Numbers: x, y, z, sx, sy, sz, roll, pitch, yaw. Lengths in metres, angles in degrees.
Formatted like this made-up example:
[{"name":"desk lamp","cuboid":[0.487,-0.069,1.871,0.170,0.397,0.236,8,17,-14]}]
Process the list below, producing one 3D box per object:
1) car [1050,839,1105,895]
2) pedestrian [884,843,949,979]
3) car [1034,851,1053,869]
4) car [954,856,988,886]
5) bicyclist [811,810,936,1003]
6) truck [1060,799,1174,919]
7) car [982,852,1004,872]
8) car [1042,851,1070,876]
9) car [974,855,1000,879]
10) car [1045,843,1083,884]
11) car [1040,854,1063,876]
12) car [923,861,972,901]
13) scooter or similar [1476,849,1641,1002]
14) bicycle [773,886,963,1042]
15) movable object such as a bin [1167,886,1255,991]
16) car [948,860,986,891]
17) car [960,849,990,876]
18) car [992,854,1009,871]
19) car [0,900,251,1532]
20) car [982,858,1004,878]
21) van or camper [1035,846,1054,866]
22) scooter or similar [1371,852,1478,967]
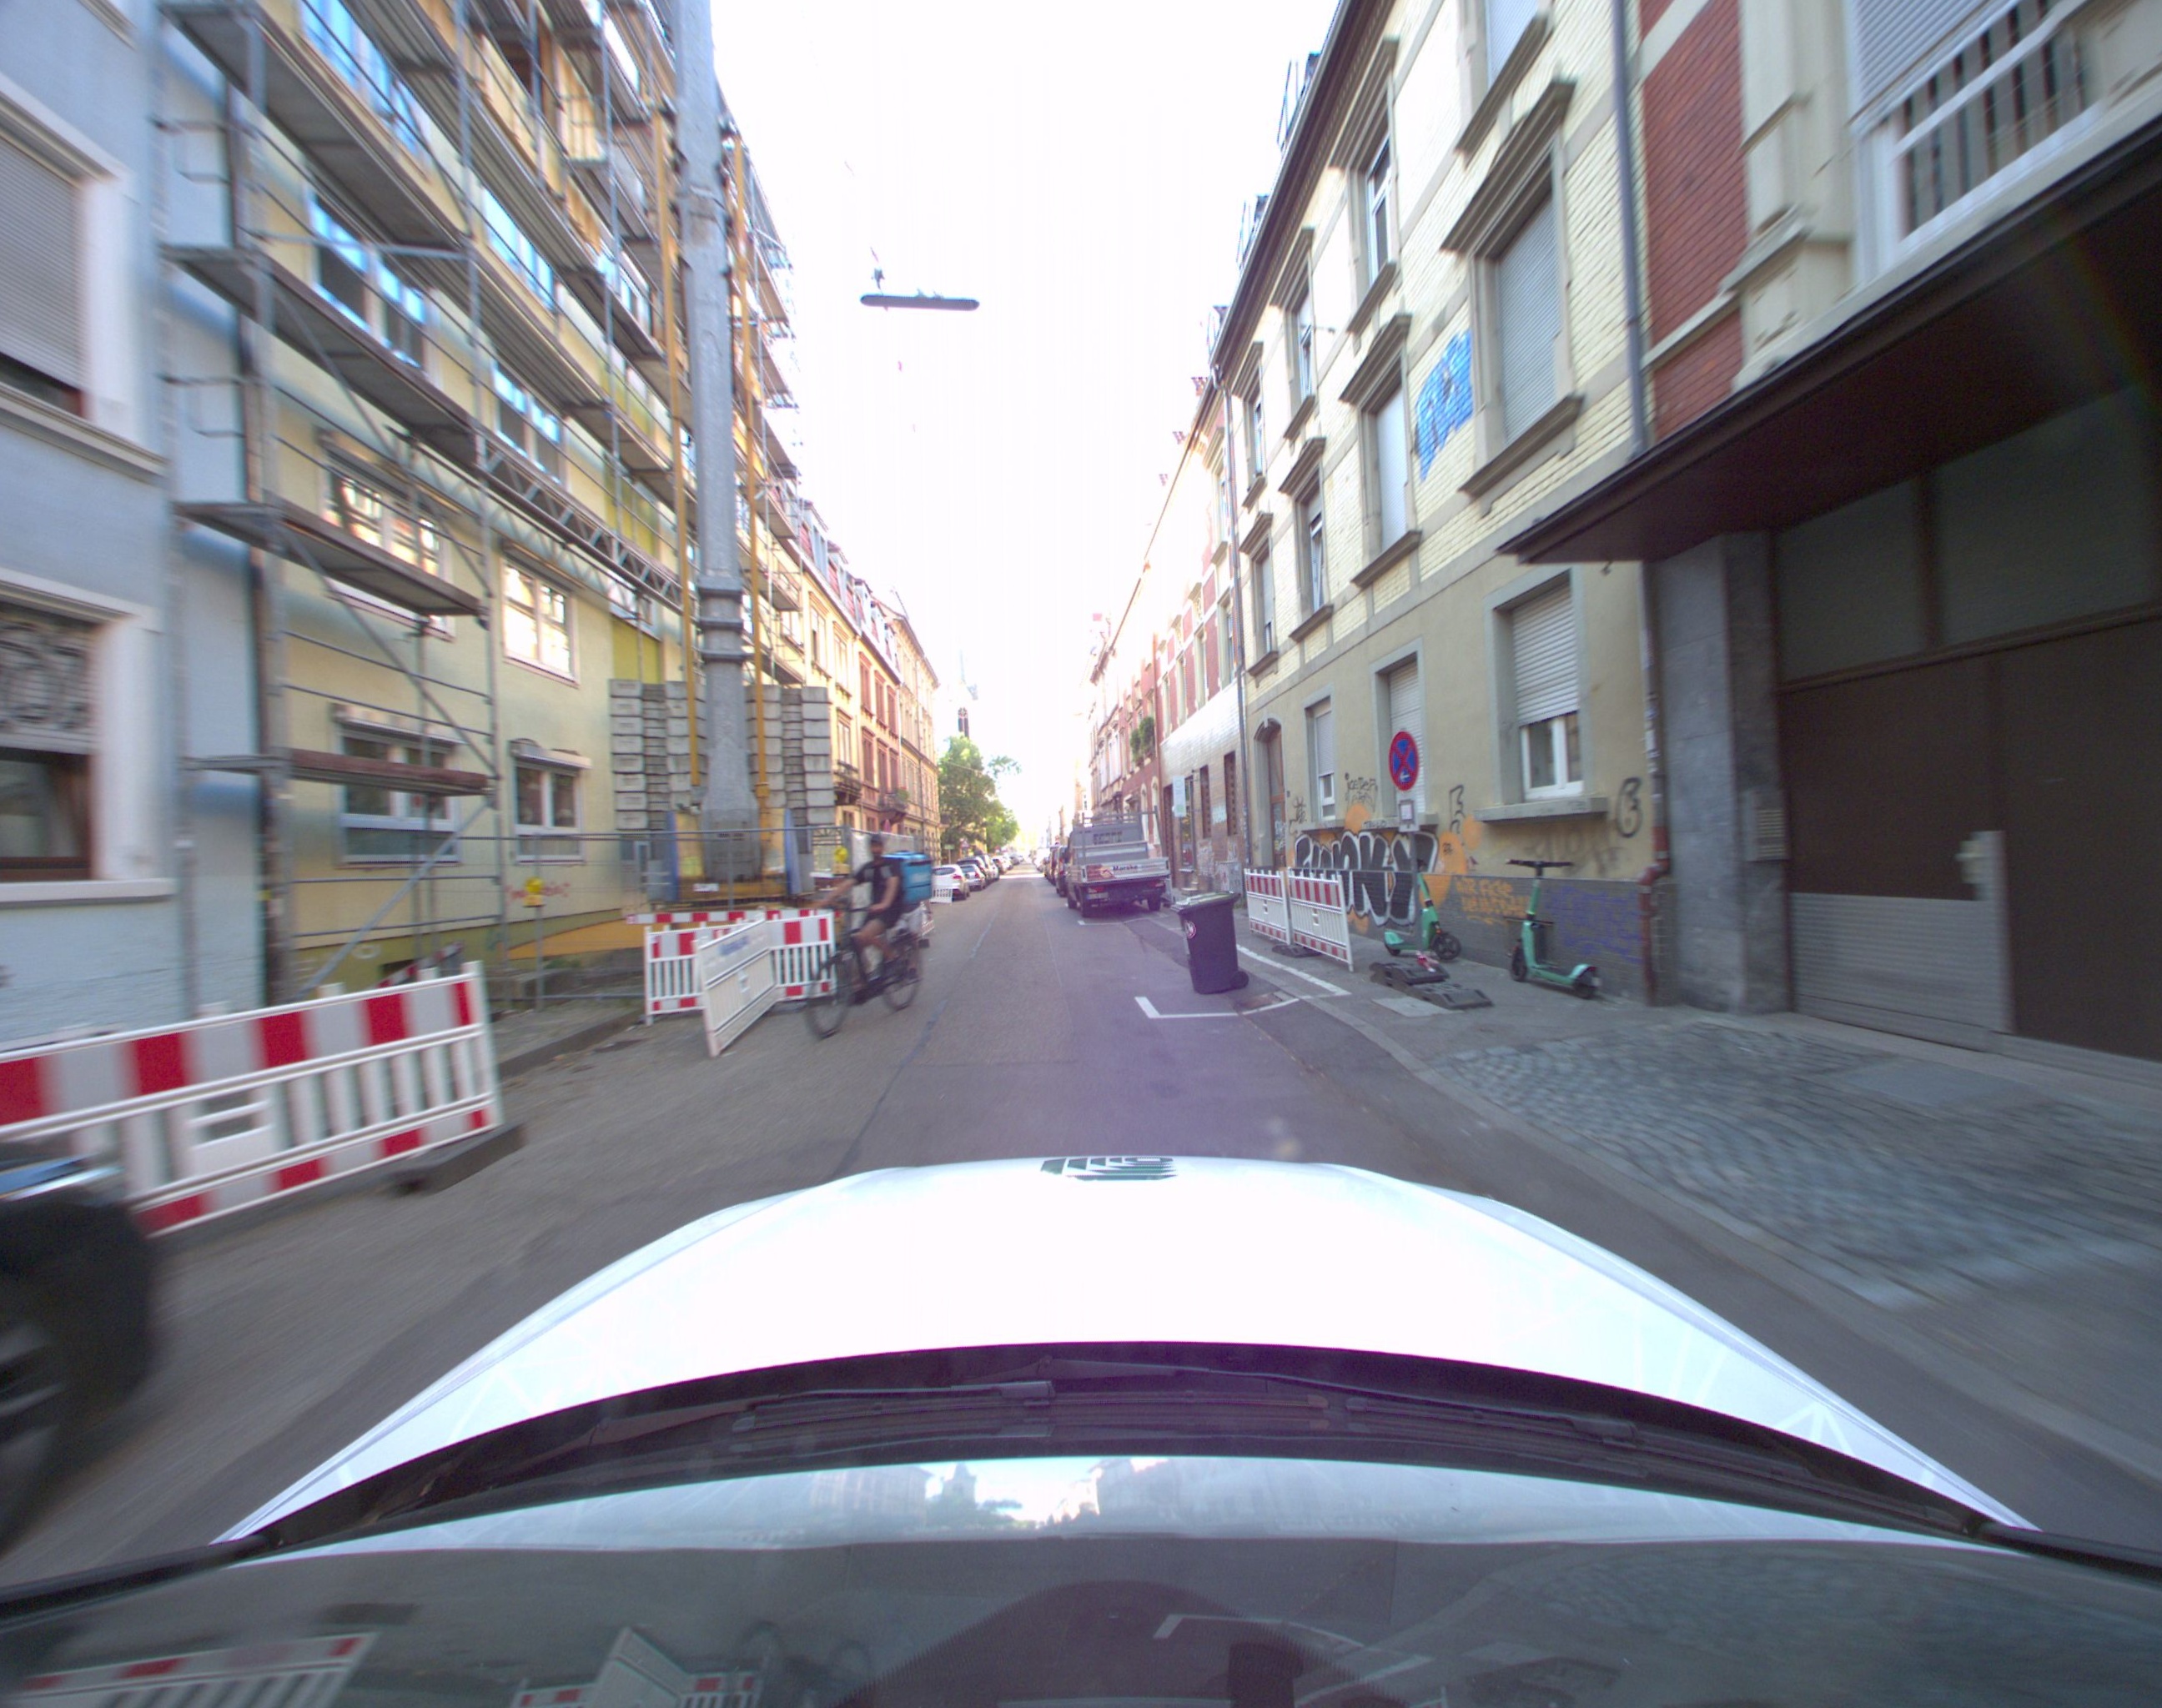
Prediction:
[{"name":"car","cuboid":[-0.200,0.493,31.806,1.673,1.962,4.100,-3,0,-6]},{"name":"pedestrian","cuboid":[-2.197,0.737,10.953,0.656,1.732,0.719,-3,0,-4]},{"name":"car","cuboid":[-4.349,0.670,94.317,1.990,1.848,3.993,-4,0,-5]},{"name":"car","cuboid":[-6.268,0.935,46.728,1.673,1.571,3.861,-3,0,-6]},{"name":"bicyclist","cuboid":[-2.005,0.491,7.956,0.724,1.761,0.839,-4,0,19]},{"name":"truck","cuboid":[0.777,0.115,21.365,2.186,2.607,5.225,-4,0,-5]},{"name":"car","cuboid":[-9.181,0.814,85.324,1.990,1.848,3.993,-4,0,-5]},{"name":"car","cuboid":[-1.806,0.676,57.701,1.673,1.571,3.861,-3,0,-6]},{"name":"car","cuboid":[-6.569,0.902,57.196,1.673,1.571,3.861,-3,0,-6]},{"name":"car","cuboid":[-0.955,0.520,44.262,1.673,2.031,3.861,-3,0,-6]},{"name":"car","cuboid":[-2.995,1.089,82.080,1.990,2.013,3.993,-3,0,-5]},{"name":"car","cuboid":[-5.363,1.053,33.066,1.673,1.445,3.861,-3,0,-6]},{"name":"scooter or similar","cuboid":[4.155,0.572,7.209,0.417,1.178,1.493,-5,0,-4]},{"name":"bicycle","cuboid":[-1.983,0.985,7.972,0.718,1.186,2.053,-3,0,19]},{"name":"movable object such as a bin","cuboid":[1.446,0.926,9.154,0.793,1.056,0.659,-3,0,-4]},{"name":"car","cuboid":[-5.815,1.066,41.863,1.673,1.445,3.861,-3,0,-6]},{"name":"car","cuboid":[-6.755,0.533,51.984,1.673,1.571,3.861,-4,0,-6]},{"name":"car","cuboid":[-10.032,1.051,101.424,1.897,1.848,3.923,-4,0,-5]},{"name":"car","cuboid":[-3.341,0.916,0.207,1.672,1.477,4.601,-3,0,-4]},{"name":"car","cuboid":[-8.602,1.332,80.124,1.990,1.848,3.993,-3,0,-5]},{"name":"van or camper","cuboid":[-4.958,0.302,110.614,1.992,2.508,4.191,-4,0,-8]},{"name":"scooter or similar","cuboid":[3.915,0.591,9.394,0.417,1.178,1.493,-5,0,-4]}]
